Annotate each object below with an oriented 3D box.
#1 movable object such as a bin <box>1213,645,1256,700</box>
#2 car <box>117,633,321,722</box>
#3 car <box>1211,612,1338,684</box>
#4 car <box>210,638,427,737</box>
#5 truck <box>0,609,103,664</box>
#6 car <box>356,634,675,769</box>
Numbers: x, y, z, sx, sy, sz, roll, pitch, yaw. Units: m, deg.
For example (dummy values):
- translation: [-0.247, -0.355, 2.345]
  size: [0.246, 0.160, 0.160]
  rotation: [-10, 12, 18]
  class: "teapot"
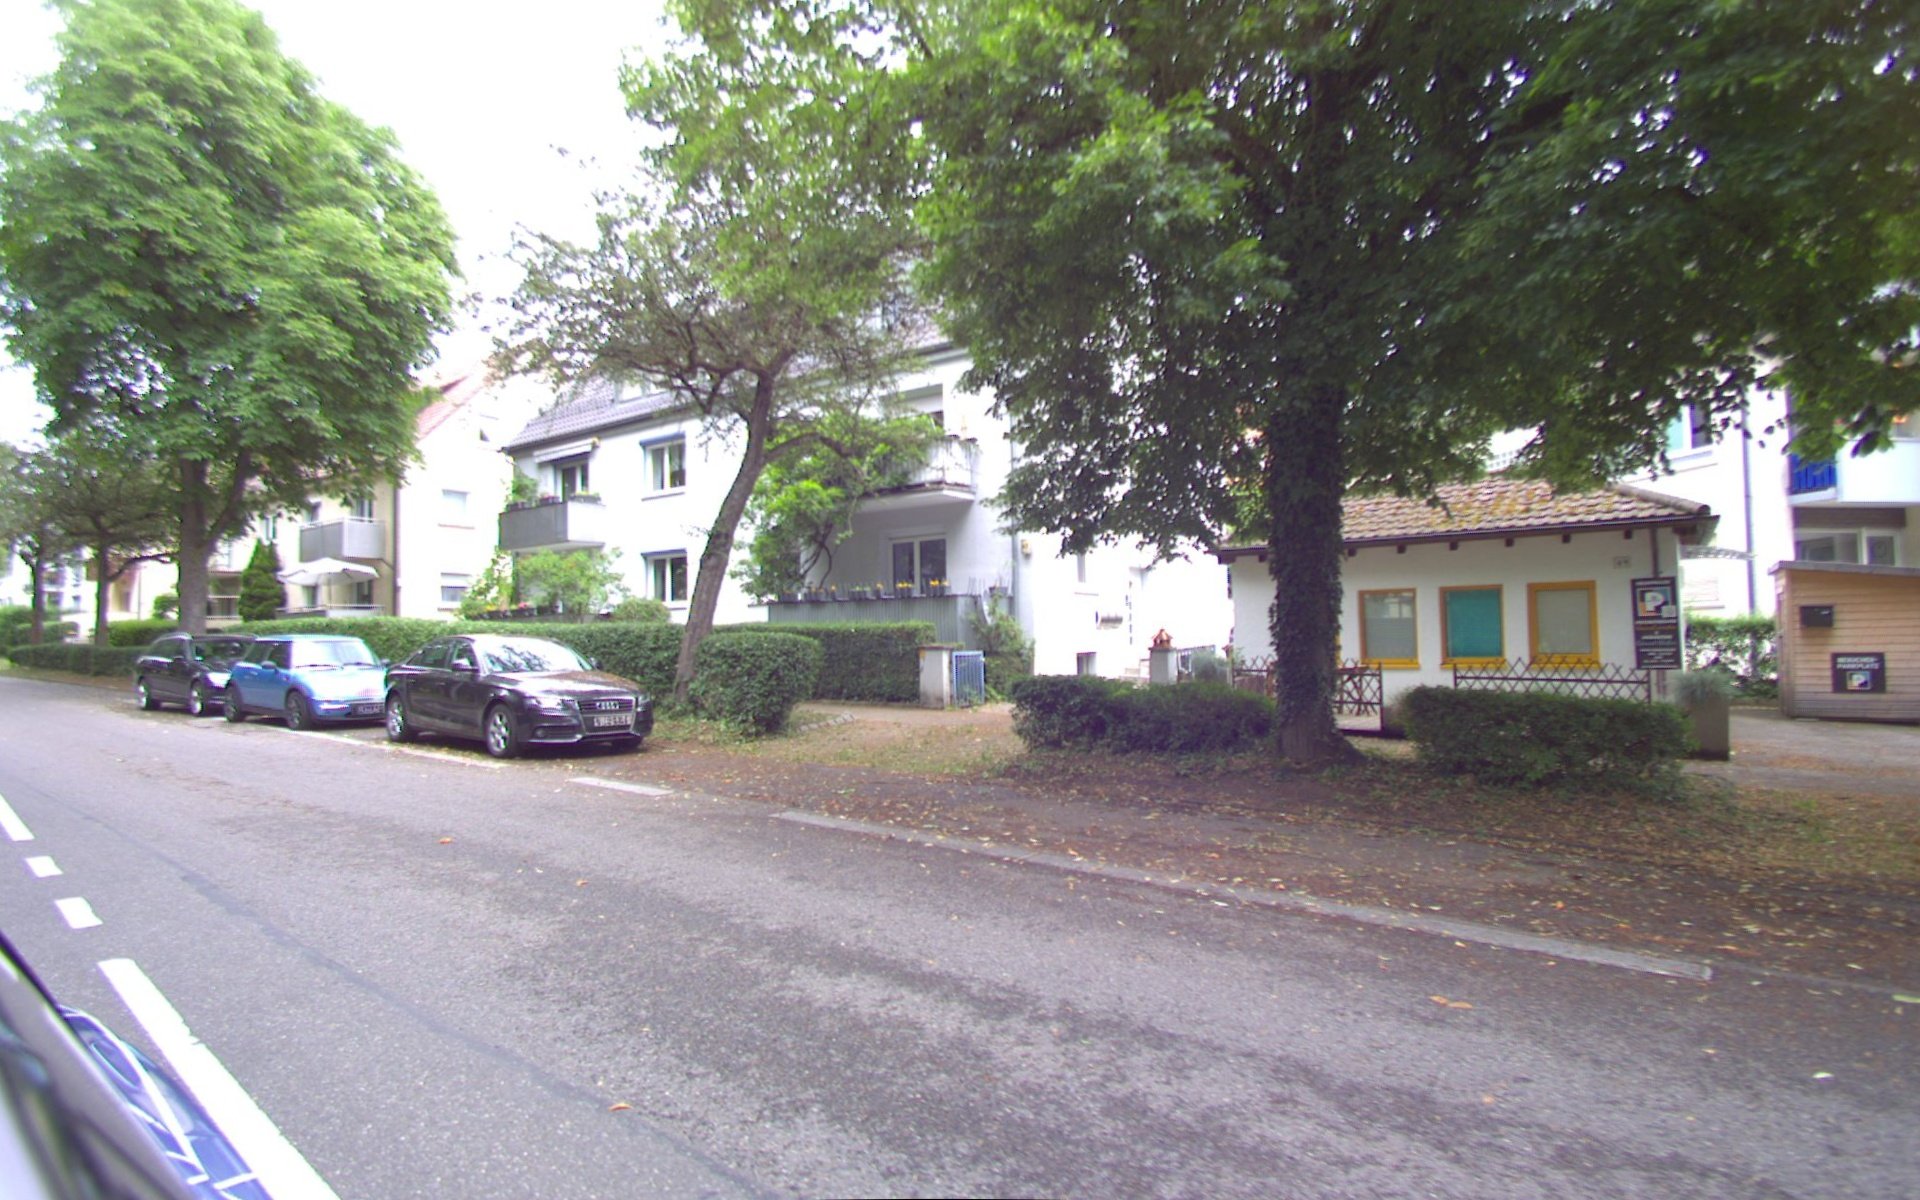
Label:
- translation: [4.822, 1.258, 17.783]
  size: [0.573, 0.929, 0.482]
  rotation: [-2, -1, 39]
  class: "movable object such as a bin"
- translation: [-13.981, 1.396, 19.025]
  size: [4.408, 1.483, 1.778]
  rotation: [-2, -4, 36]
  class: "car"
- translation: [7.459, 1.069, 23.762]
  size: [1.730, 1.522, 3.953]
  rotation: [-2, -1, 35]
  class: "car"
- translation: [-10.292, 1.322, 16.175]
  size: [3.699, 1.402, 1.650]
  rotation: [-2, -4, 36]
  class: "car"
- translation: [-55.392, 2.168, 60.570]
  size: [2.511, 3.155, 5.747]
  rotation: [-2, -3, 34]
  class: "truck"
- translation: [-5.782, 1.176, 12.902]
  size: [4.639, 1.421, 1.776]
  rotation: [-2, -4, 39]
  class: "car"
